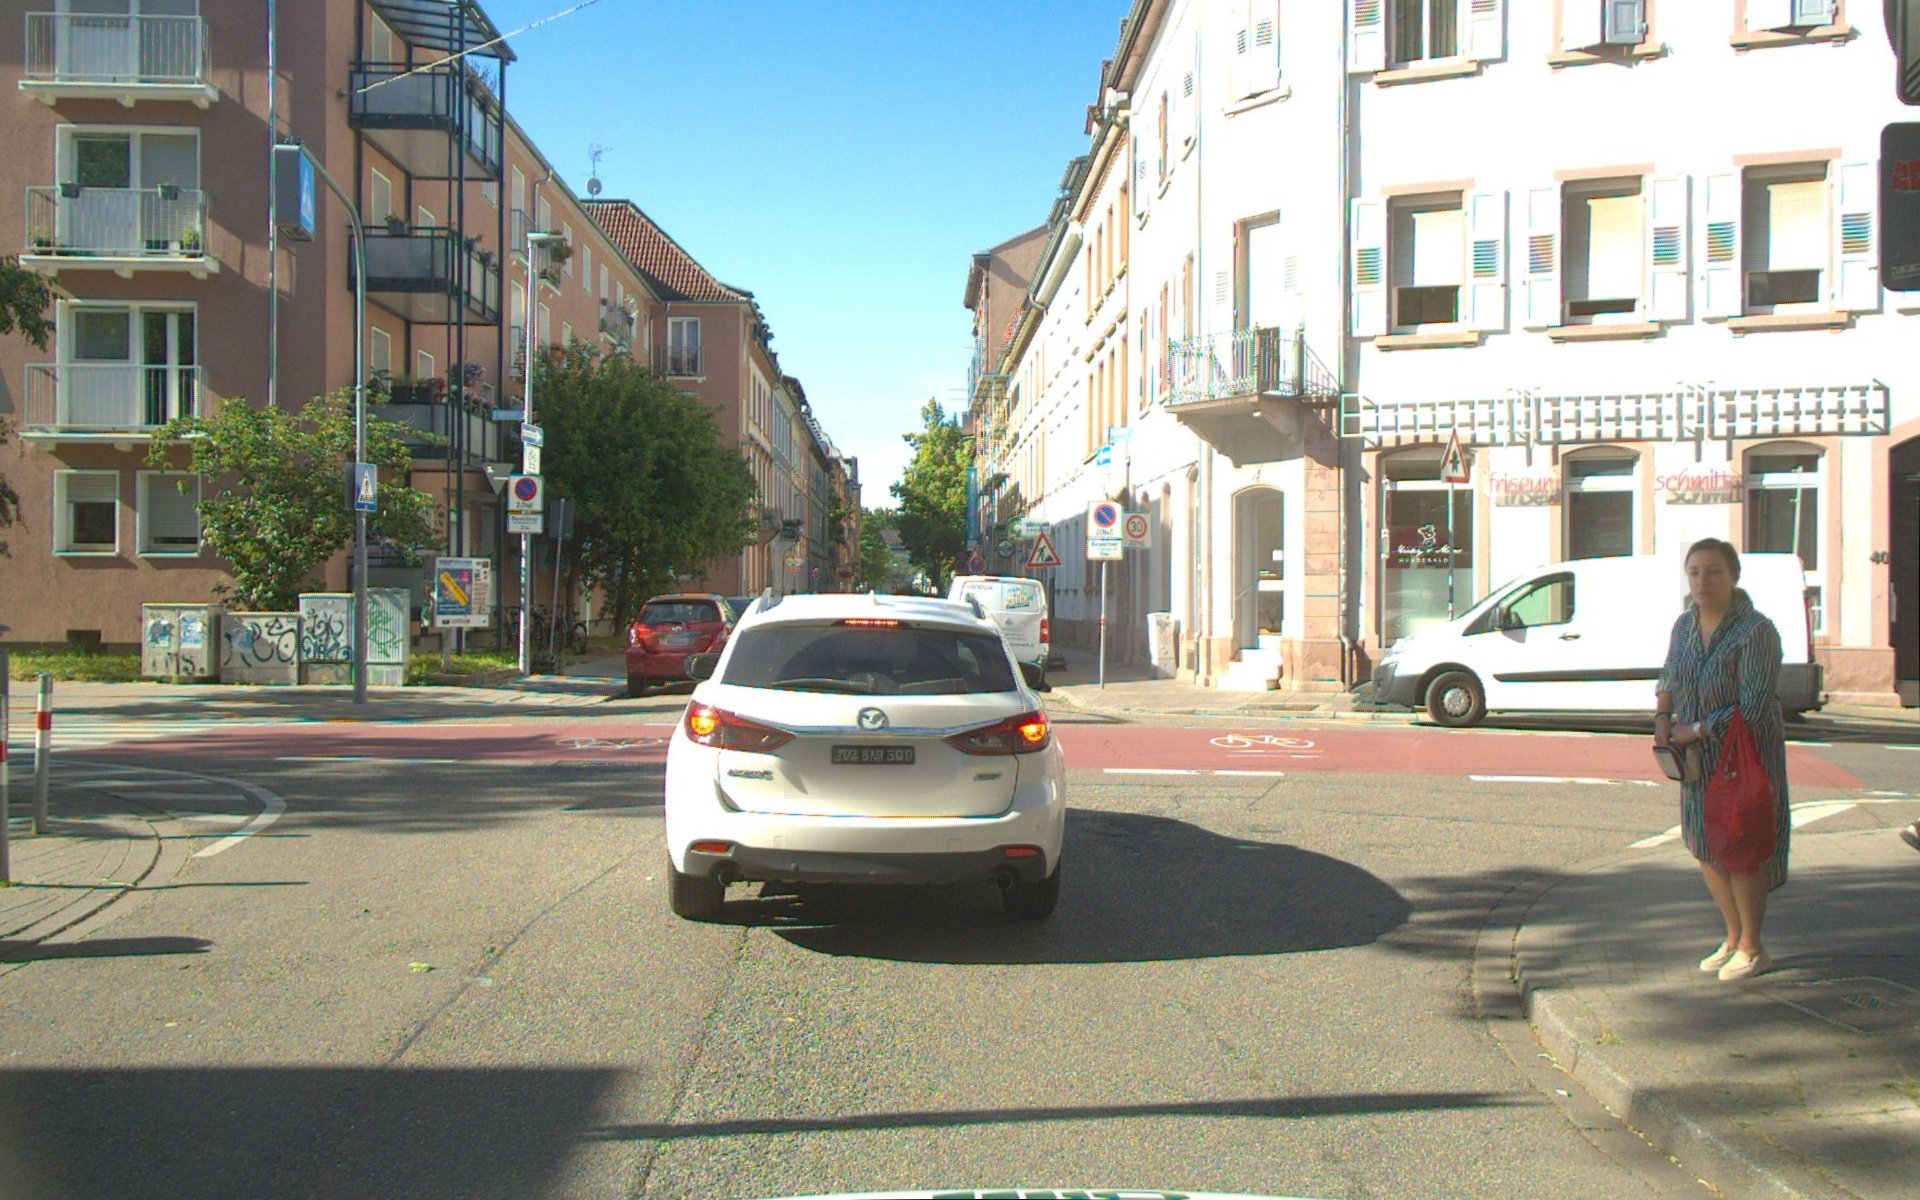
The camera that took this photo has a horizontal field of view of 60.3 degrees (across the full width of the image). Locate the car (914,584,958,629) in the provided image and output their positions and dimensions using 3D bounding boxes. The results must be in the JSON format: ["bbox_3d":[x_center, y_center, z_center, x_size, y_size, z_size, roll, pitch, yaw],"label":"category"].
[{"bbox_3d":[-1.048,0.260,71.714,1.856,1.892,3.994,0,0,-1],"label":"car"}]

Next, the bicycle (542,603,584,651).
[{"bbox_3d":[-9.107,0.606,37.944,1.196,1.090,0.252,0,0,38],"label":"bicycle"}]

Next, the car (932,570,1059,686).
[{"bbox_3d":[0.560,0.469,30.461,1.857,1.891,5.010,2,0,-4],"label":"car"}]

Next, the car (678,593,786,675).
[{"bbox_3d":[-4.457,0.628,32.816,1.620,1.526,4.079,0,0,-1],"label":"car"}]

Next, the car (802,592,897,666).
[{"bbox_3d":[-2.211,0.556,34.034,1.725,1.434,4.327,0,0,-1],"label":"car"}]

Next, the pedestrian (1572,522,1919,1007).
[{"bbox_3d":[2.918,0.572,6.147,0.827,1.600,0.846,-5,-1,-1],"label":"pedestrian"}]

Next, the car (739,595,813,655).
[{"bbox_3d":[-4.932,0.644,44.680,1.620,1.526,3.762,0,0,-1],"label":"car"}]

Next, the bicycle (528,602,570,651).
[{"bbox_3d":[-9.397,0.599,37.799,1.193,1.090,0.252,0,0,38],"label":"bicycle"}]

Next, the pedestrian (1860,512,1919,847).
[{"bbox_3d":[5.518,0.418,8.937,0.734,1.795,0.830,-2,-3,-2],"label":"pedestrian"}]

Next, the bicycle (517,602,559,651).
[{"bbox_3d":[-9.591,0.599,37.568,1.193,1.089,0.252,0,0,38],"label":"bicycle"}]

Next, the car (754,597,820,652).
[{"bbox_3d":[-5.047,0.691,48.661,1.620,1.526,3.762,0,0,-1],"label":"car"}]

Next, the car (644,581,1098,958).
[{"bbox_3d":[-0.384,0.661,8.517,1.794,1.482,3.961,0,0,-1],"label":"car"}]

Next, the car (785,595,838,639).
[{"bbox_3d":[-5.271,0.587,59.109,1.620,1.526,3.762,0,0,-1],"label":"car"}]

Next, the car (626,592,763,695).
[{"bbox_3d":[-4.199,0.647,26.690,1.650,1.526,3.806,0,0,-1],"label":"car"}]

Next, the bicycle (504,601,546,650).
[{"bbox_3d":[-9.814,0.563,37.314,1.193,1.091,0.265,0,0,38],"label":"bicycle"}]

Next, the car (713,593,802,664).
[{"bbox_3d":[-4.577,0.615,37.831,1.620,1.526,3.762,0,0,-1],"label":"car"}]

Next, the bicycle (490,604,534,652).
[{"bbox_3d":[-10.035,0.618,37.042,1.193,1.053,0.290,0,0,38],"label":"bicycle"}]

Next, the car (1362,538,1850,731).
[{"bbox_3d":[7.197,0.346,18.790,4.906,1.980,2.051,0,0,21],"label":"car"}]

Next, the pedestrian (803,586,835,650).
[{"bbox_3d":[-3.679,0.455,43.160,0.720,1.642,0.813,0,0,-14],"label":"pedestrian"}]
